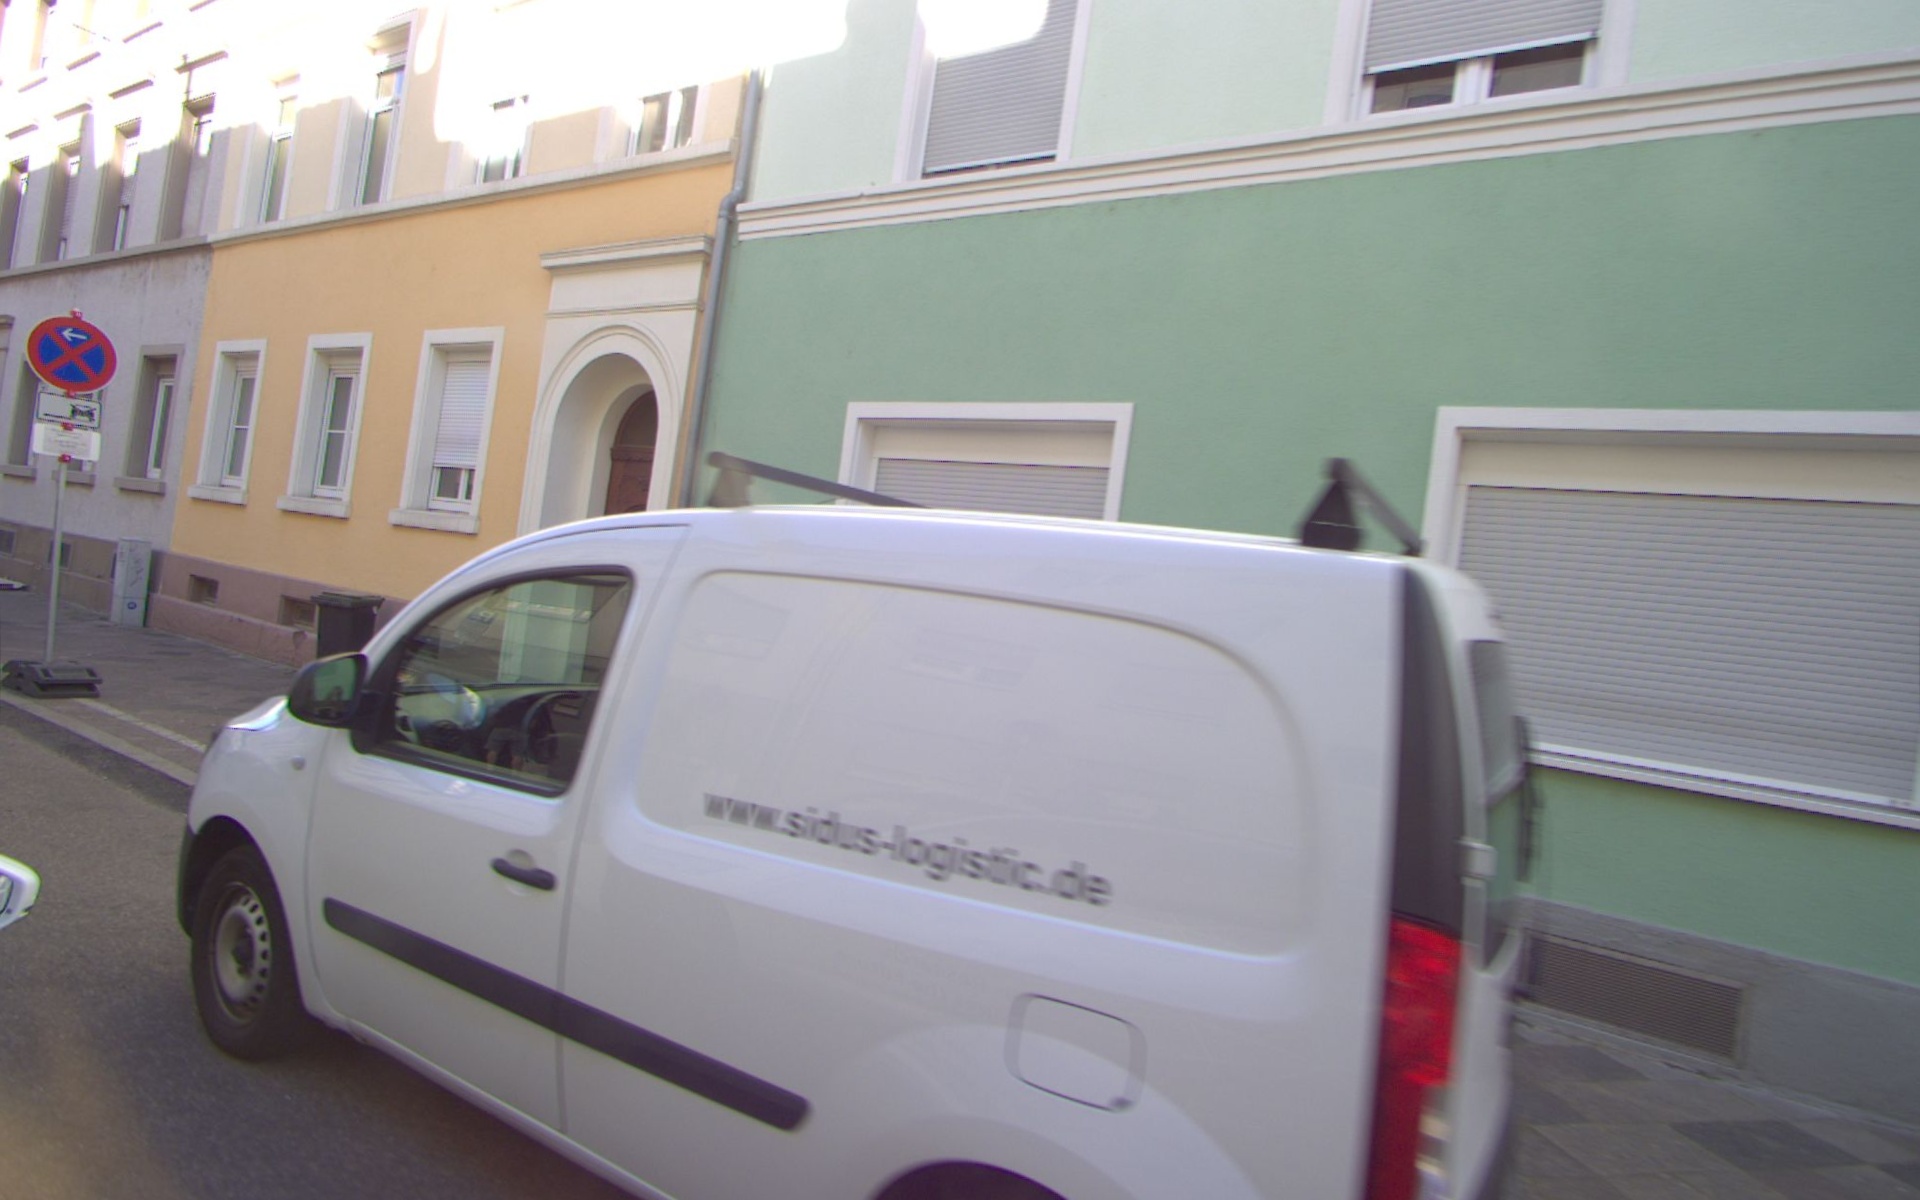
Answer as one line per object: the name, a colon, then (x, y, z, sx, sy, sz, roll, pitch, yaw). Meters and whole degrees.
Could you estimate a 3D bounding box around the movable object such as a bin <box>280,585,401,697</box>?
movable object such as a bin: (-5.868, 0.398, 9.545, 0.632, 0.947, 0.655, 7, -1, 29)

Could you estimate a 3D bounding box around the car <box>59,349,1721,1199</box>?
car: (-0.614, 0.565, 3.032, 4.263, 1.984, 1.786, 7, -1, 31)

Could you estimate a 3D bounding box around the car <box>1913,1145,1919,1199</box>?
car: (3.323, 1.150, 0.632, 3.619, 1.650, 1.585, 7, -3, 29)
